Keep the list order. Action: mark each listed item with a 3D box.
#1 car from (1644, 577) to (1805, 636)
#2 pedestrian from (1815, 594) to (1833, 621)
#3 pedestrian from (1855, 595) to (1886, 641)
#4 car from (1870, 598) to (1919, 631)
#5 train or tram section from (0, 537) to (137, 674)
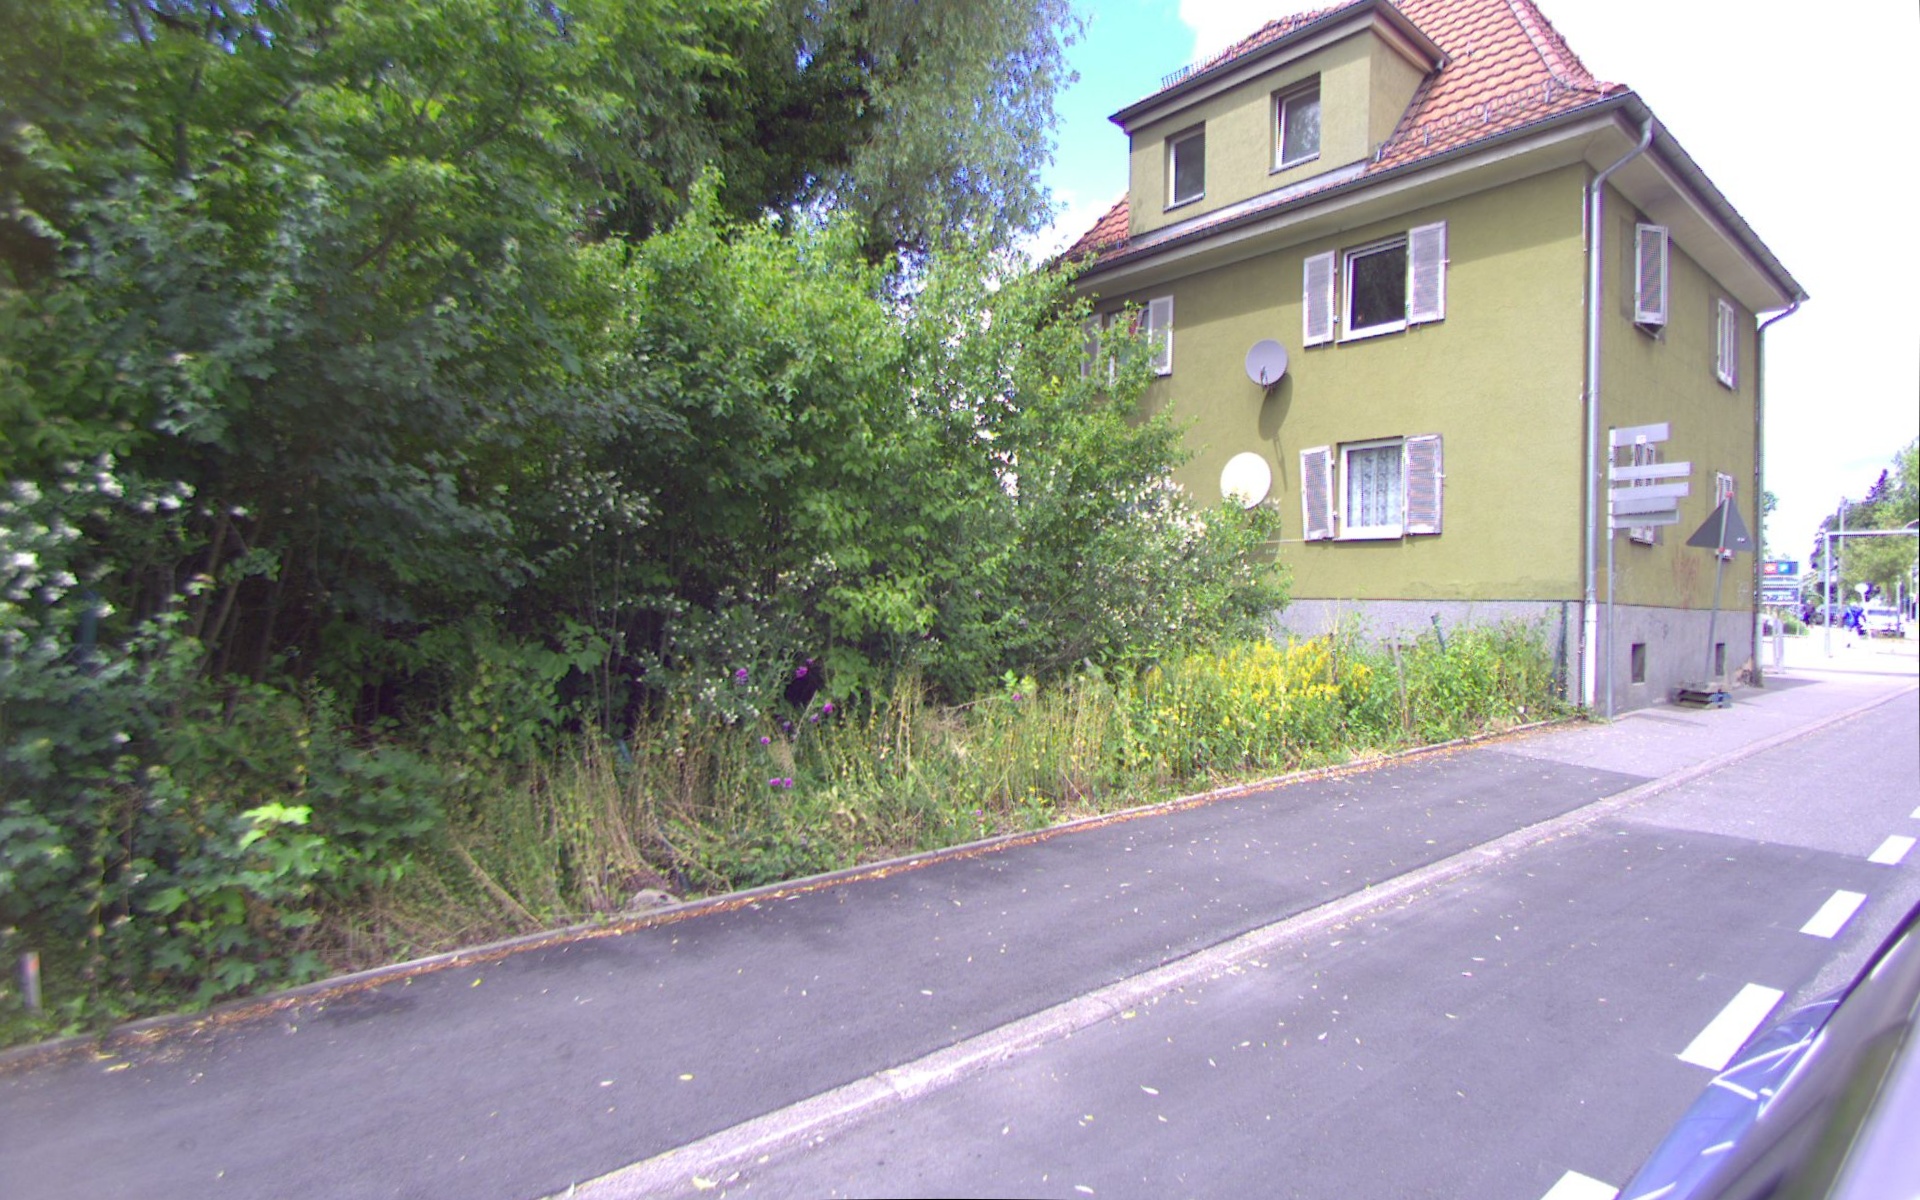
[{"bbox_3d":[28.305,0.183,37.618,1.961,2.019,4.374,0,1,-32],"label":"car"},{"bbox_3d":[54.034,0.478,63.288,0.765,1.683,0.721,1,-3,-45],"label":"pedestrian"},{"bbox_3d":[31.716,0.612,35.263,0.726,1.572,1.042,1,0,39],"label":"pedestrian"},{"bbox_3d":[47.611,0.716,51.301,3.931,1.529,1.797,0,2,-42],"label":"car"},{"bbox_3d":[-28.911,0.208,31.212,2.809,3.769,7.731,0,-1,-17],"label":"train or tram section"}]
